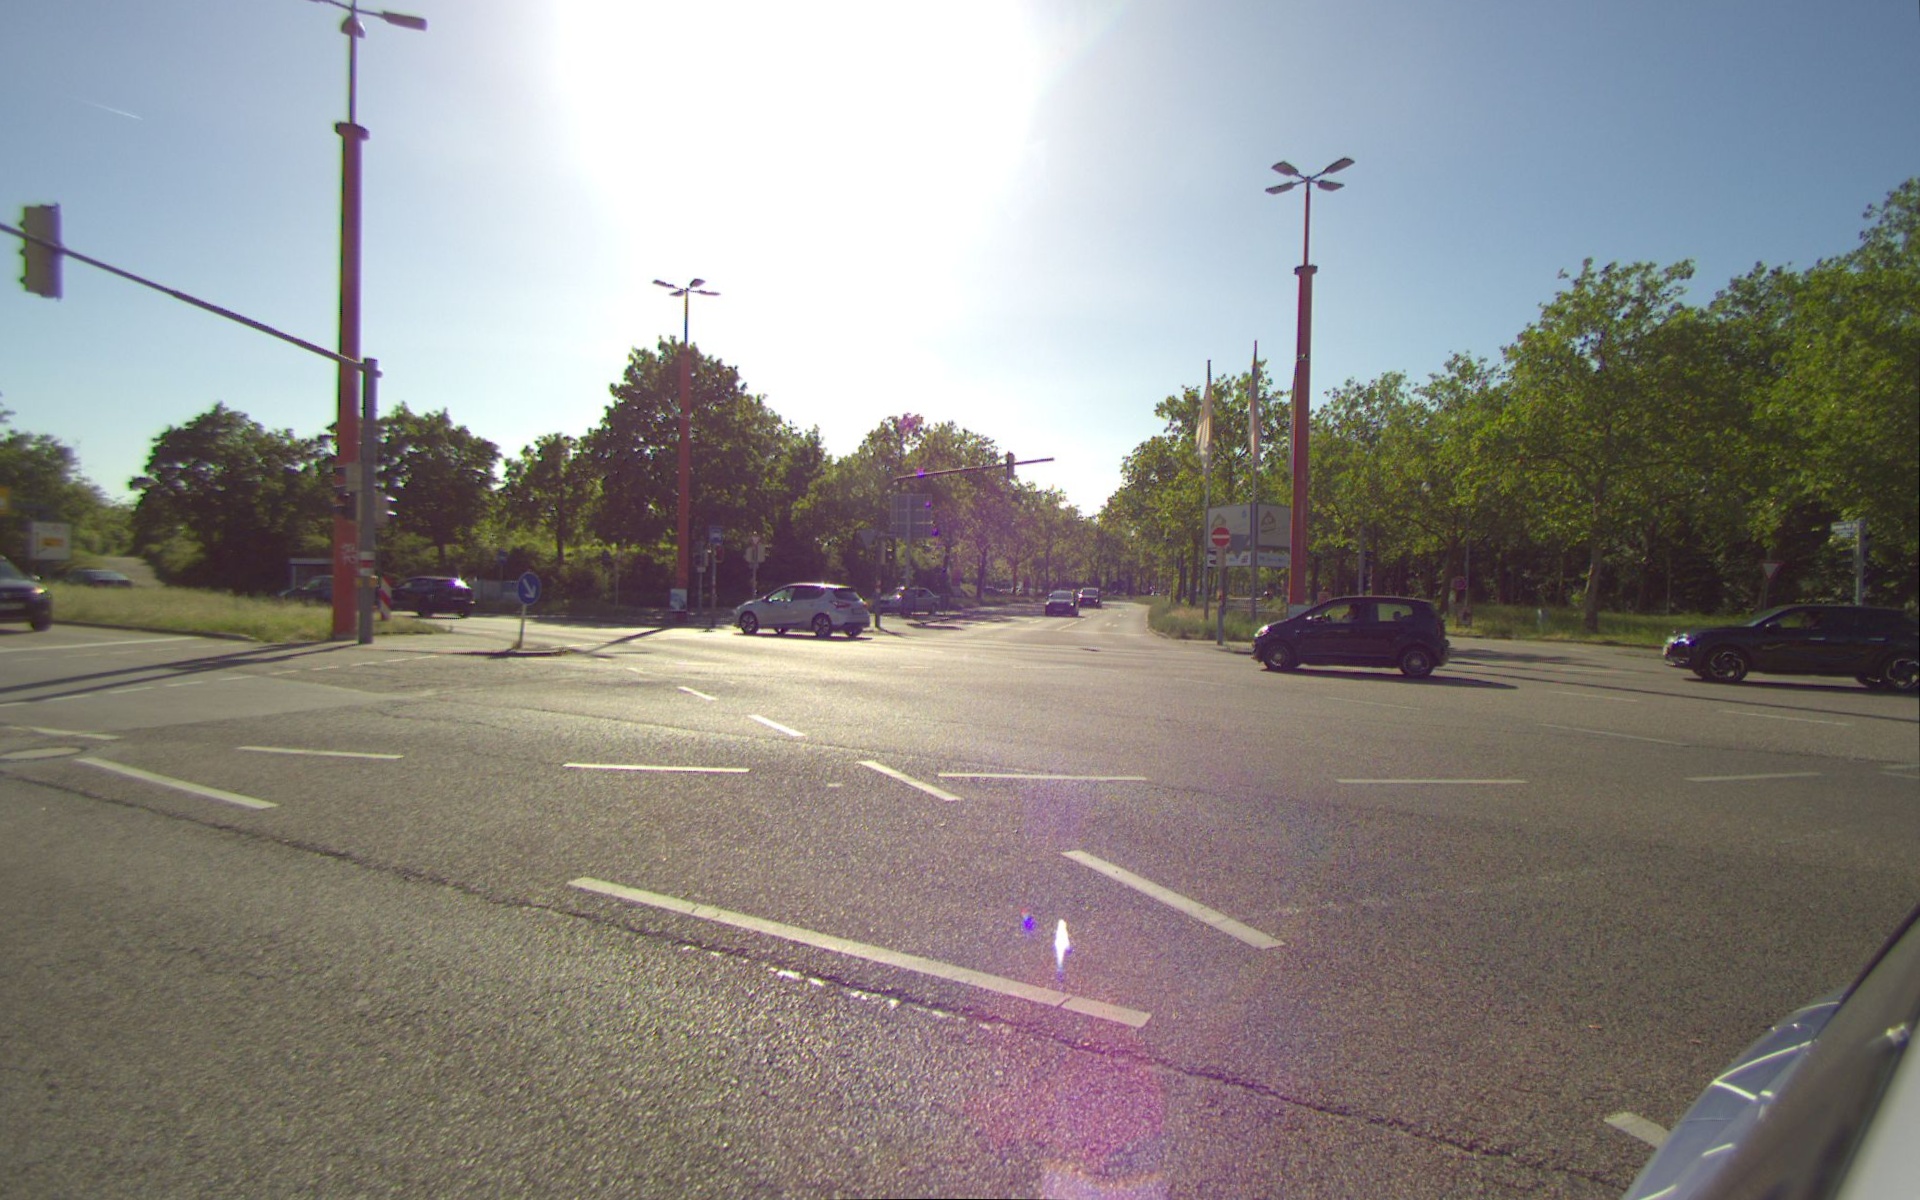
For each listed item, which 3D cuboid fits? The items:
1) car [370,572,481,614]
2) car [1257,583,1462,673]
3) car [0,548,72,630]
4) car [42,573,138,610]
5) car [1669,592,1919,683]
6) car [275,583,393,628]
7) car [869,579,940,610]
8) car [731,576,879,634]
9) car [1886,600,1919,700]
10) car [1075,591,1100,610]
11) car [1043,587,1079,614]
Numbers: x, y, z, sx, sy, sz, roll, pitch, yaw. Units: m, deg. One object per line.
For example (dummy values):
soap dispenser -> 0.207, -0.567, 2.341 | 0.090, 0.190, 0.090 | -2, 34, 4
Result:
car -> -20.434, -0.262, 38.673 | 4.189, 1.527, 1.755 | 1, -1, 30
car -> 7.496, 0.475, 19.022 | 3.421, 1.513, 1.607 | 1, 0, 28
car -> -20.986, -0.269, 21.546 | 4.104, 1.646, 1.782 | 1, 2, 28
car -> -37.829, -0.395, 43.992 | 4.157, 1.472, 1.703 | 1, 1, 27
car -> 15.738, 0.651, 18.870 | 3.928, 1.513, 1.697 | 1, 0, 29
car -> -21.589, 0.161, 34.885 | 4.013, 1.437, 1.707 | 1, 0, 29
car -> -2.854, -0.262, 52.669 | 1.849, 1.536, 4.097 | 1, -1, 27
car -> -4.556, 0.130, 29.603 | 4.100, 1.536, 1.709 | 1, -1, 29
car -> 16.154, 0.765, 14.358 | 4.134, 1.457, 1.697 | 1, 0, 29
car -> 10.814, 0.065, 85.850 | 1.746, 1.527, 4.210 | 1, -1, 12
car -> 5.932, 0.007, 59.208 | 1.746, 1.527, 4.212 | 1, 1, 11
